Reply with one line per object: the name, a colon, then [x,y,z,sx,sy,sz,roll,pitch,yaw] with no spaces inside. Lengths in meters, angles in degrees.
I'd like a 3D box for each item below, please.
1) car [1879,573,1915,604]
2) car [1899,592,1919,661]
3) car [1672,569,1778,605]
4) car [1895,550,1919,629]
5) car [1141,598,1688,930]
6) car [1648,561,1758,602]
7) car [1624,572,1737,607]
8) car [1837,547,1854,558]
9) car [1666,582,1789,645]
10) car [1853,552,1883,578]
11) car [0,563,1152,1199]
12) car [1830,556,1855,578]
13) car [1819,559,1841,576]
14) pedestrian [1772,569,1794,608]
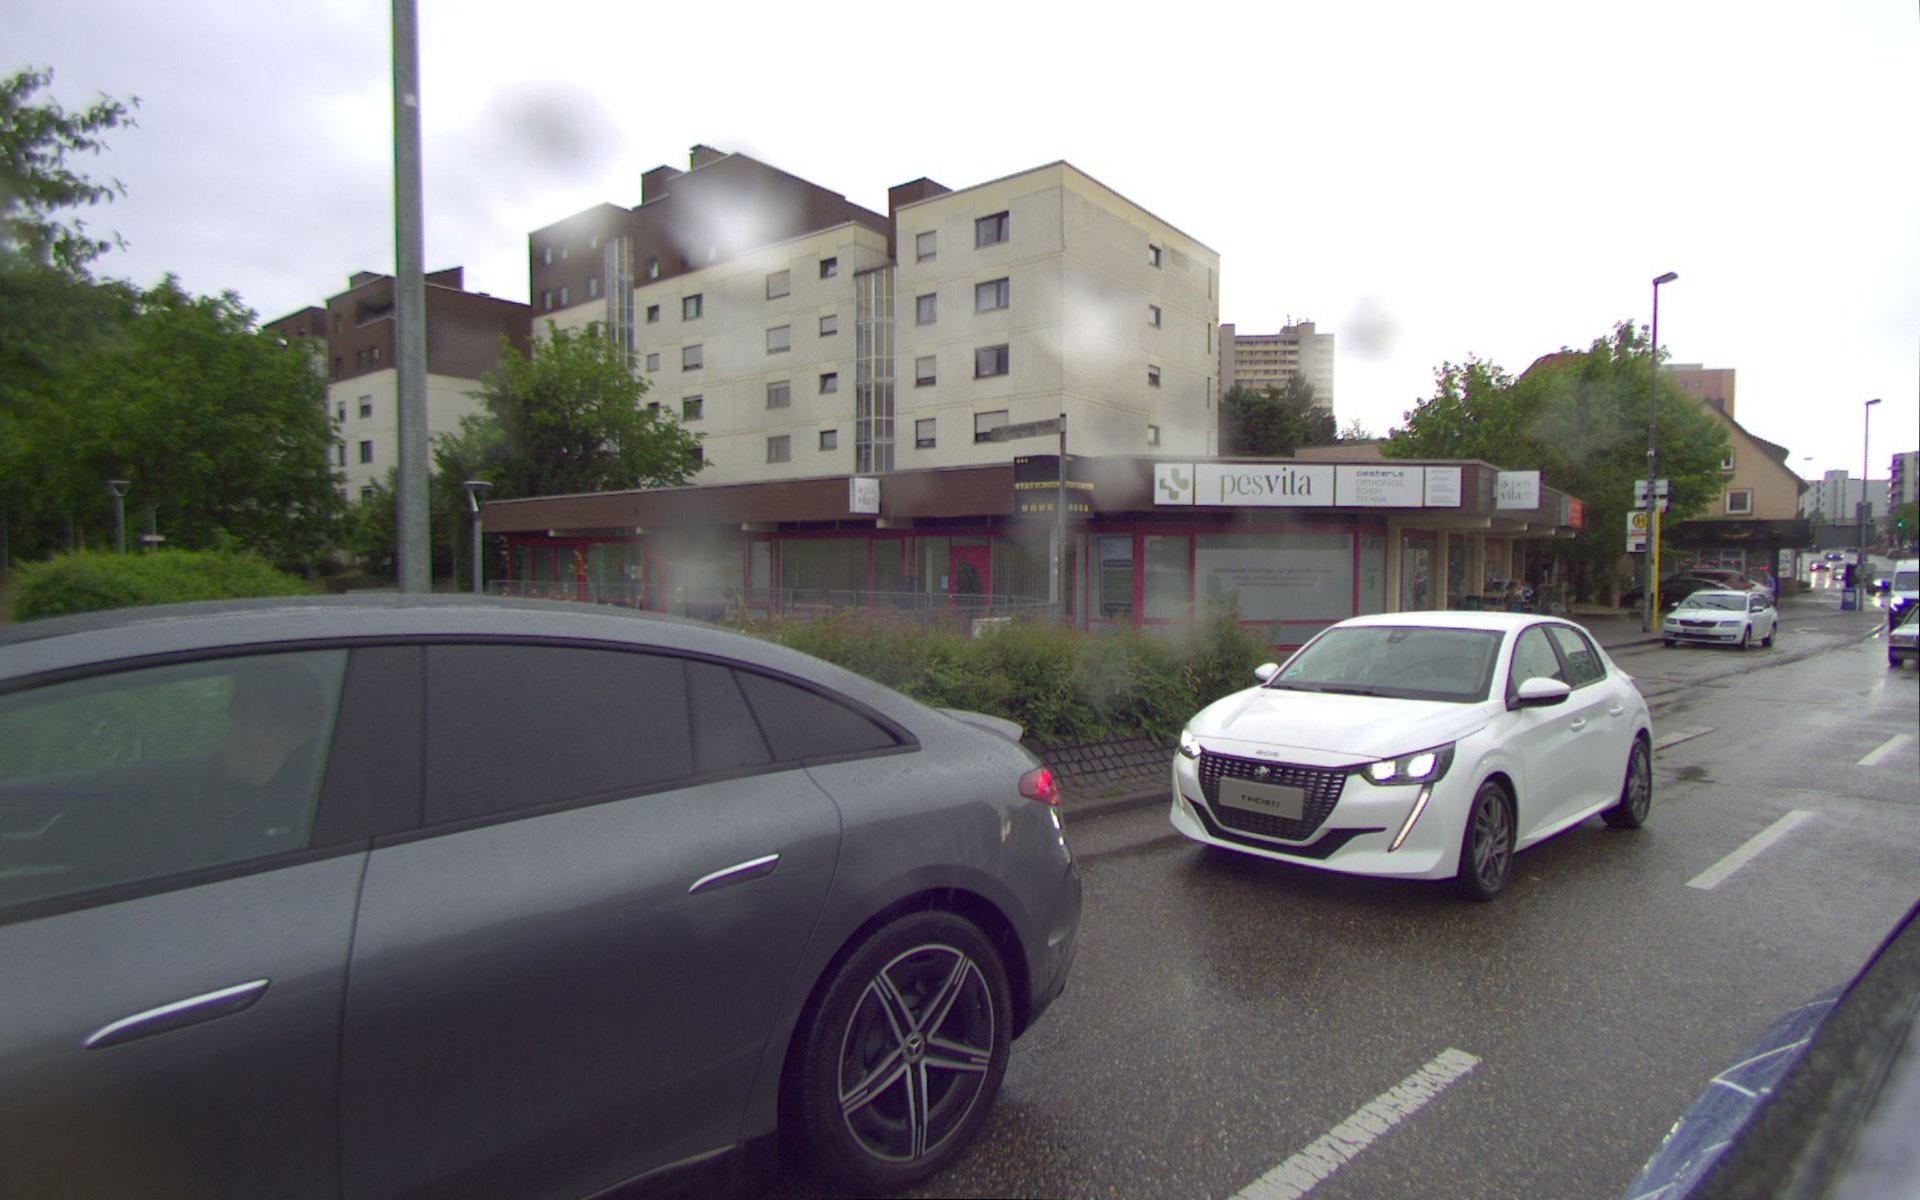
car: [62.707,-0.755,67.701,1.716,2.025,3.775,1,1,44]
car: [21.769,0.535,21.820,4.089,1.362,1.787,-2,2,-41]
car: [36.646,-0.615,48.540,3.981,1.614,1.857,2,0,39]
car: [33.694,-0.396,34.551,6.021,2.549,2.194,-1,2,-43]
car: [3.093,0.727,6.470,4.043,1.433,1.665,0,1,-41]
car: [34.186,-0.870,46.600,3.981,1.801,1.858,2,2,39]
car: [31.996,-0.500,44.981,3.981,1.445,1.858,2,2,39]
car: [140.149,-7.536,160.179,1.657,1.654,3.754,1,1,37]
car: [20.089,0.300,26.437,3.930,1.509,1.787,-1,1,-41]
car: [73.113,-2.818,81.526,1.714,2.025,3.780,1,1,41]
car: [-1.766,0.695,2.300,4.724,1.485,1.840,1,-1,-41]
car: [84.666,-3.180,97.120,1.714,2.025,3.780,1,1,40]
car: [105.122,-3.886,122.273,1.992,2.039,3.939,0,1,42]
pedestrian: [38.920,-0.552,47.848,0.740,1.804,0.749,0,0,-44]
